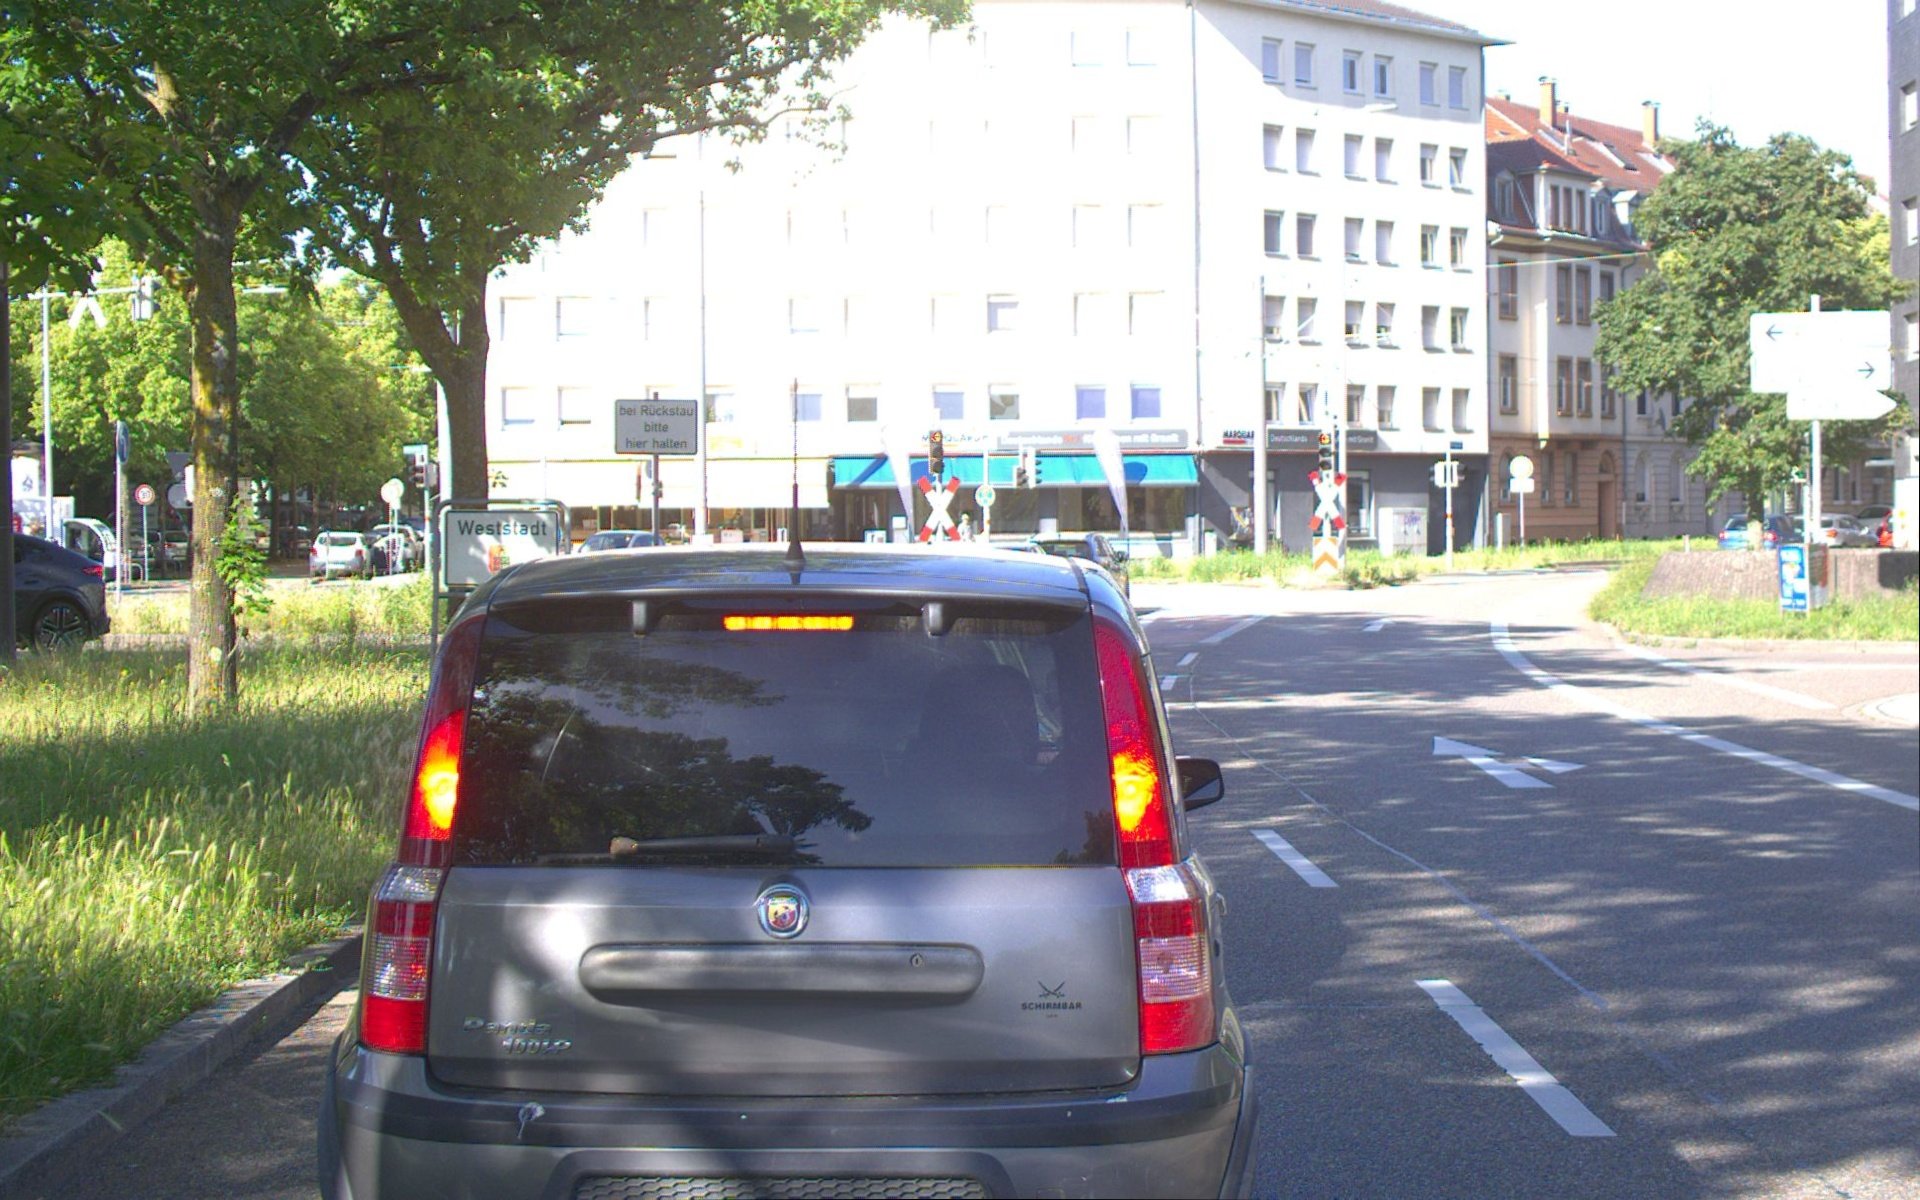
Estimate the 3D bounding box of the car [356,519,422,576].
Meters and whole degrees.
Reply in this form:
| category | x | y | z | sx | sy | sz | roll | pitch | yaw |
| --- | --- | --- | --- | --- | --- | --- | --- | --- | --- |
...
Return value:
| category | x | y | z | sx | sy | sz | roll | pitch | yaw |
| --- | --- | --- | --- | --- | --- | --- | --- | --- | --- |
| car | -20.508 | -1.898 | 123.590 | 1.993 | 2.007 | 4.001 | -1 | 1 | -4 |

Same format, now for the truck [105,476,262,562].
| category | x | y | z | sx | sy | sz | roll | pitch | yaw |
| --- | --- | --- | --- | --- | --- | --- | --- | --- | --- |
| truck | -28.872 | -3.001 | 127.782 | 5.485 | 3.158 | 2.340 | 0 | 1 | 28 |

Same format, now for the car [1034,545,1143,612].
| category | x | y | z | sx | sy | sz | roll | pitch | yaw |
| --- | --- | --- | --- | --- | --- | --- | --- | --- | --- |
| car | 2.174 | -0.373 | 57.676 | 1.143 | 1.060 | 2.719 | 0 | 1 | 17 |

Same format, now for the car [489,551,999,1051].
| category | x | y | z | sx | sy | sz | roll | pitch | yaw |
| --- | --- | --- | --- | --- | --- | --- | --- | --- | --- |
| car | -0.642 | 0.558 | 11.647 | 1.463 | 1.396 | 3.393 | 0 | 1 | -1 |

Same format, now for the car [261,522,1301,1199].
| category | x | y | z | sx | sy | sz | roll | pitch | yaw |
| --- | --- | --- | --- | --- | --- | --- | --- | --- | --- |
| car | -0.299 | 0.596 | 7.425 | 1.628 | 1.503 | 4.000 | -1 | 1 | -1 |

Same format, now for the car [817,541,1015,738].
| category | x | y | z | sx | sy | sz | roll | pitch | yaw |
| --- | --- | --- | --- | --- | --- | --- | --- | --- | --- |
| car | -0.345 | 0.266 | 27.271 | 1.463 | 1.420 | 3.381 | 0 | 2 | -1 |

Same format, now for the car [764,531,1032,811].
| category | x | y | z | sx | sy | sz | roll | pitch | yaw |
| --- | --- | --- | --- | --- | --- | --- | --- | --- | --- |
| car | -0.359 | 0.355 | 20.639 | 1.463 | 1.503 | 3.505 | 0 | 2 | -1 |

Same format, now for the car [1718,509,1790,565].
| category | x | y | z | sx | sy | sz | roll | pitch | yaw |
| --- | --- | --- | --- | --- | --- | --- | --- | --- | --- |
| car | 20.886 | -1.663 | 90.395 | 1.683 | 1.444 | 3.569 | 0 | 1 | 15 |

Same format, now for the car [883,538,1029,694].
| category | x | y | z | sx | sy | sz | roll | pitch | yaw |
| --- | --- | --- | --- | --- | --- | --- | --- | --- | --- |
| car | -0.059 | 0.120 | 33.870 | 1.356 | 1.444 | 3.266 | -1 | 1 | -1 |

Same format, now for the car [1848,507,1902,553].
| category | x | y | z | sx | sy | sz | roll | pitch | yaw |
| --- | --- | --- | --- | --- | --- | --- | --- | --- | --- |
| car | 29.619 | -2.273 | 111.220 | 1.528 | 1.464 | 3.285 | 0 | 2 | 18 |

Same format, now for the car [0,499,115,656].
| category | x | y | z | sx | sy | sz | roll | pitch | yaw |
| --- | --- | --- | --- | --- | --- | --- | --- | --- | --- |
| car | -12.339 | -0.201 | 40.155 | 4.448 | 1.641 | 1.832 | -5 | 8 | -41 |

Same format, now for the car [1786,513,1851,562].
| category | x | y | z | sx | sy | sz | roll | pitch | yaw |
| --- | --- | --- | --- | --- | --- | --- | --- | --- | --- |
| car | 23.455 | -1.721 | 93.887 | 1.528 | 1.310 | 3.285 | 0 | 2 | 18 |

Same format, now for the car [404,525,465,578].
| category | x | y | z | sx | sy | sz | roll | pitch | yaw |
| --- | --- | --- | --- | --- | --- | --- | --- | --- | --- |
| car | -20.356 | -1.884 | 133.311 | 1.993 | 2.007 | 4.001 | -1 | 1 | -4 |

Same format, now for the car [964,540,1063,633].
| category | x | y | z | sx | sy | sz | roll | pitch | yaw |
| --- | --- | --- | --- | --- | --- | --- | --- | --- | --- |
| car | 0.751 | -0.214 | 49.602 | 1.356 | 1.277 | 2.876 | 0 | 1 | -1 |
